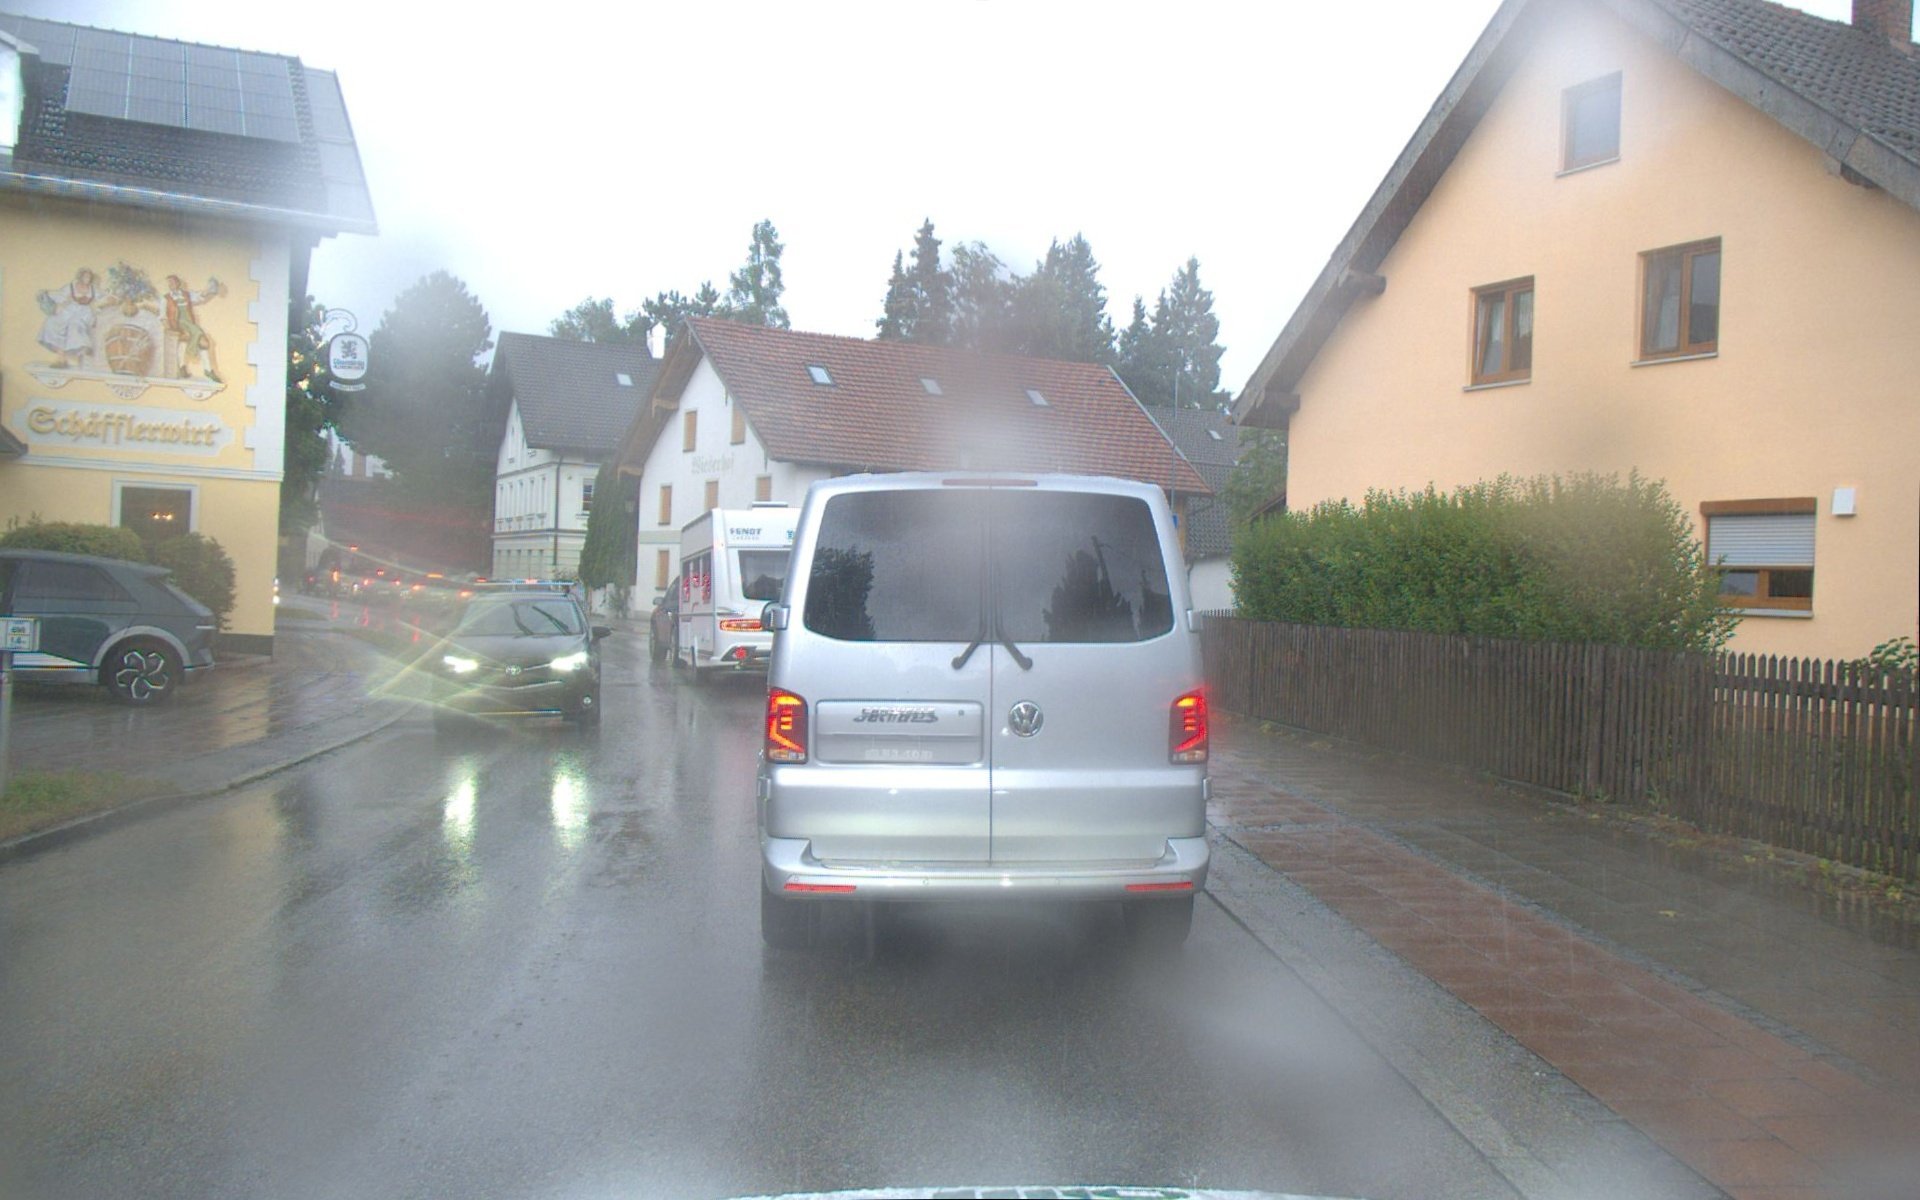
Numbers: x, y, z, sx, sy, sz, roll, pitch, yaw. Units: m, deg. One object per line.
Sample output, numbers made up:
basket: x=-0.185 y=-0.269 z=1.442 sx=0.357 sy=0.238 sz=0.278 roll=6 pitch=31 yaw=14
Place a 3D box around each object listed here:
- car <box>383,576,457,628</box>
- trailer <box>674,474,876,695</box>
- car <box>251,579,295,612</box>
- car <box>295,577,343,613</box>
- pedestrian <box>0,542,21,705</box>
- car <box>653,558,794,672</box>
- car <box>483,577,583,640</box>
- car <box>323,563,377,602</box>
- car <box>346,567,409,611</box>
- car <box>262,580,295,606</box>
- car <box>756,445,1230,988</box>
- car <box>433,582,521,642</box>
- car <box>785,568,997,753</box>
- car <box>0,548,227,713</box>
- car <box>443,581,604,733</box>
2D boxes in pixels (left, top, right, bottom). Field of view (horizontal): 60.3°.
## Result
car: x=-22.446 y=0.054 z=68.586 sx=2.143 sy=1.932 sz=4.971 roll=2 pitch=1 yaw=-27
trailer: x=-3.006 y=-0.219 z=25.391 sx=2.233 sy=2.955 sz=6.109 roll=1 pitch=0 yaw=-14
car: x=-37.814 y=-0.257 z=90.954 sx=1.900 sy=1.775 sz=4.154 roll=0 pitch=0 yaw=-28
car: x=-38.156 y=-0.339 z=98.400 sx=2.143 sy=1.932 sz=4.971 roll=2 pitch=1 yaw=-27
pedestrian: x=-10.295 y=0.234 z=17.307 sx=0.481 sy=1.719 sz=0.554 roll=4 pitch=-1 yaw=-1
car: x=-4.500 y=0.243 z=30.825 sx=2.019 sy=1.932 sz=5.155 roll=1 pitch=0 yaw=-15
car: x=-14.191 y=0.272 z=54.795 sx=2.143 sy=1.932 sz=4.970 roll=2 pitch=-1 yaw=-27
car: x=-32.844 y=-0.962 z=88.968 sx=2.143 sy=1.932 sz=4.971 roll=2 pitch=1 yaw=-27
car: x=-27.761 y=-0.552 z=78.764 sx=2.143 sy=1.932 sz=4.971 roll=2 pitch=1 yaw=-27
car: x=-55.936 y=-0.612 z=135.695 sx=2.143 sy=1.932 sz=4.971 roll=2 pitch=1 yaw=-27
car: x=0.102 y=0.424 z=8.644 sx=1.740 sy=1.997 sz=5.073 roll=0 pitch=0 yaw=-1
car: x=-17.618 y=0.410 z=60.210 sx=2.143 sy=1.932 sz=4.971 roll=2 pitch=1 yaw=-27
car: x=-0.857 y=0.493 z=17.197 sx=1.677 sy=1.611 sz=4.676 roll=-1 pitch=1 yaw=-9
car: x=-10.671 y=0.254 z=18.334 sx=4.427 sy=1.594 sz=1.822 roll=5 pitch=1 yaw=-30
car: x=-5.026 y=0.571 z=19.158 sx=1.611 sy=1.547 sz=4.172 roll=0 pitch=0 yaw=-15
